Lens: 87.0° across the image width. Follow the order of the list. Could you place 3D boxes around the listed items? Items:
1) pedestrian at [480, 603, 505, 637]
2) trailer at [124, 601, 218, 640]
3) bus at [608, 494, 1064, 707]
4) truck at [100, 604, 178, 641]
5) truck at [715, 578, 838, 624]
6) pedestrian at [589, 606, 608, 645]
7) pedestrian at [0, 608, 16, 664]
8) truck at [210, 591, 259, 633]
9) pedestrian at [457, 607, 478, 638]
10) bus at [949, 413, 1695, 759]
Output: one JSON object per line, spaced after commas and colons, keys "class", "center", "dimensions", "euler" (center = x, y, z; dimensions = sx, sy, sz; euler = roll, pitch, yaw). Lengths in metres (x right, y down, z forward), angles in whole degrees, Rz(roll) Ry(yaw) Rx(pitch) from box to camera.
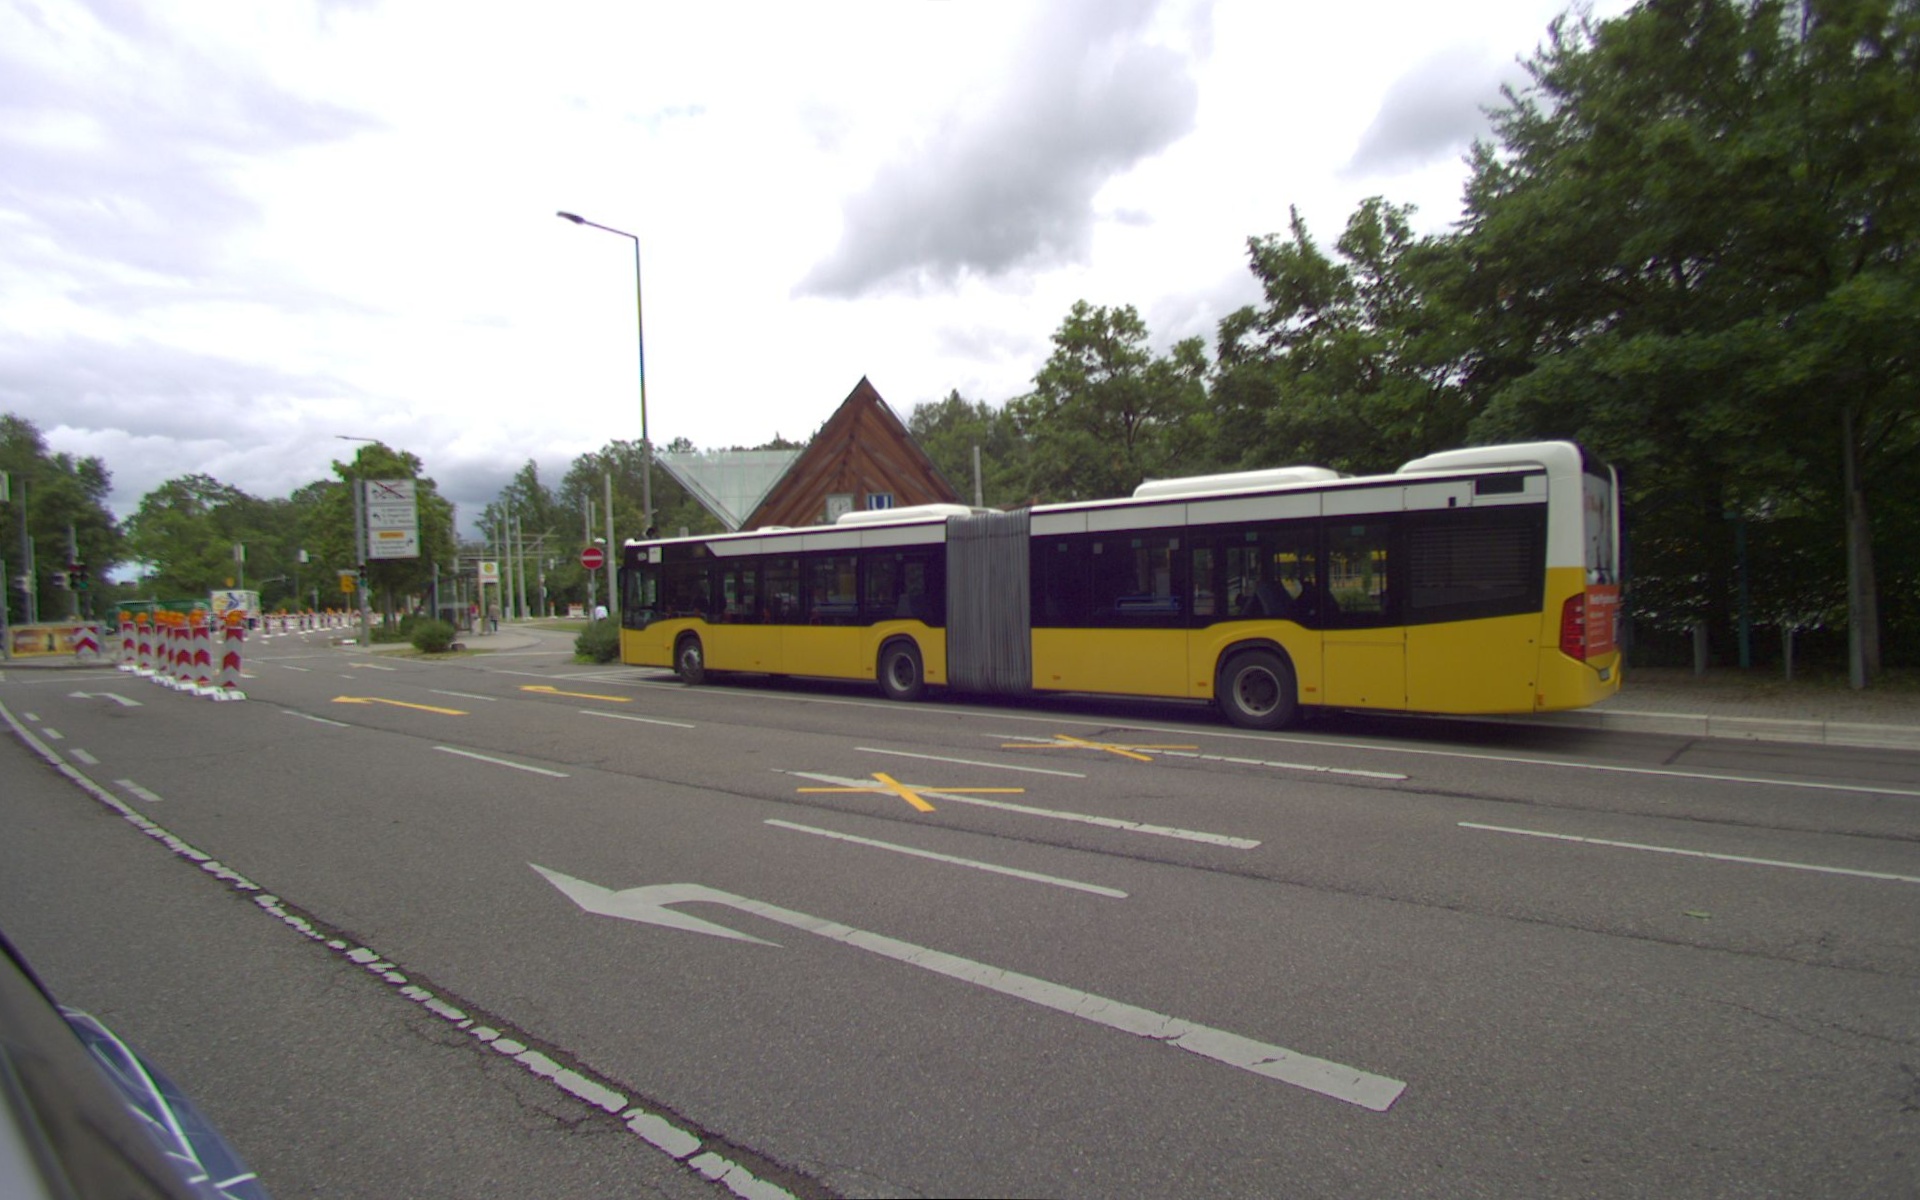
{"class": "pedestrian", "center": [-21.961, 0.935, 47.536], "dimensions": [0.862, 1.536, 0.769], "euler": [-3, 1, -38]}
{"class": "trailer", "center": [-89.922, 2.352, 115.299], "dimensions": [11.809, 3.910, 3.754], "euler": [-3, 1, 27]}
{"class": "bus", "center": [-2.850, 0.070, 19.296], "dimensions": [9.755, 3.150, 2.868], "euler": [-1, -1, 41]}
{"class": "truck", "center": [-96.450, 2.637, 118.852], "dimensions": [8.728, 3.910, 3.754], "euler": [-3, 1, 27]}
{"class": "truck", "center": [-10.115, 0.060, 55.851], "dimensions": [6.263, 2.186, 2.587], "euler": [-3, 1, 24]}
{"class": "pedestrian", "center": [-14.732, 1.024, 41.226], "dimensions": [0.628, 1.516, 0.633], "euler": [-3, 1, -21]}
{"class": "pedestrian", "center": [-31.660, 1.194, 32.979], "dimensions": [0.756, 1.822, 0.994], "euler": [-3, 1, 4]}
{"class": "truck", "center": [-59.208, 0.981, 82.679], "dimensions": [2.592, 3.263, 6.225], "euler": [0, -1, -29]}
{"class": "pedestrian", "center": [-25.599, 1.156, 52.616], "dimensions": [0.779, 1.563, 0.777], "euler": [-3, 1, -38]}
{"class": "bus", "center": [4.049, -0.071, 13.171], "dimensions": [8.690, 3.150, 2.868], "euler": [-1, -1, 41]}
